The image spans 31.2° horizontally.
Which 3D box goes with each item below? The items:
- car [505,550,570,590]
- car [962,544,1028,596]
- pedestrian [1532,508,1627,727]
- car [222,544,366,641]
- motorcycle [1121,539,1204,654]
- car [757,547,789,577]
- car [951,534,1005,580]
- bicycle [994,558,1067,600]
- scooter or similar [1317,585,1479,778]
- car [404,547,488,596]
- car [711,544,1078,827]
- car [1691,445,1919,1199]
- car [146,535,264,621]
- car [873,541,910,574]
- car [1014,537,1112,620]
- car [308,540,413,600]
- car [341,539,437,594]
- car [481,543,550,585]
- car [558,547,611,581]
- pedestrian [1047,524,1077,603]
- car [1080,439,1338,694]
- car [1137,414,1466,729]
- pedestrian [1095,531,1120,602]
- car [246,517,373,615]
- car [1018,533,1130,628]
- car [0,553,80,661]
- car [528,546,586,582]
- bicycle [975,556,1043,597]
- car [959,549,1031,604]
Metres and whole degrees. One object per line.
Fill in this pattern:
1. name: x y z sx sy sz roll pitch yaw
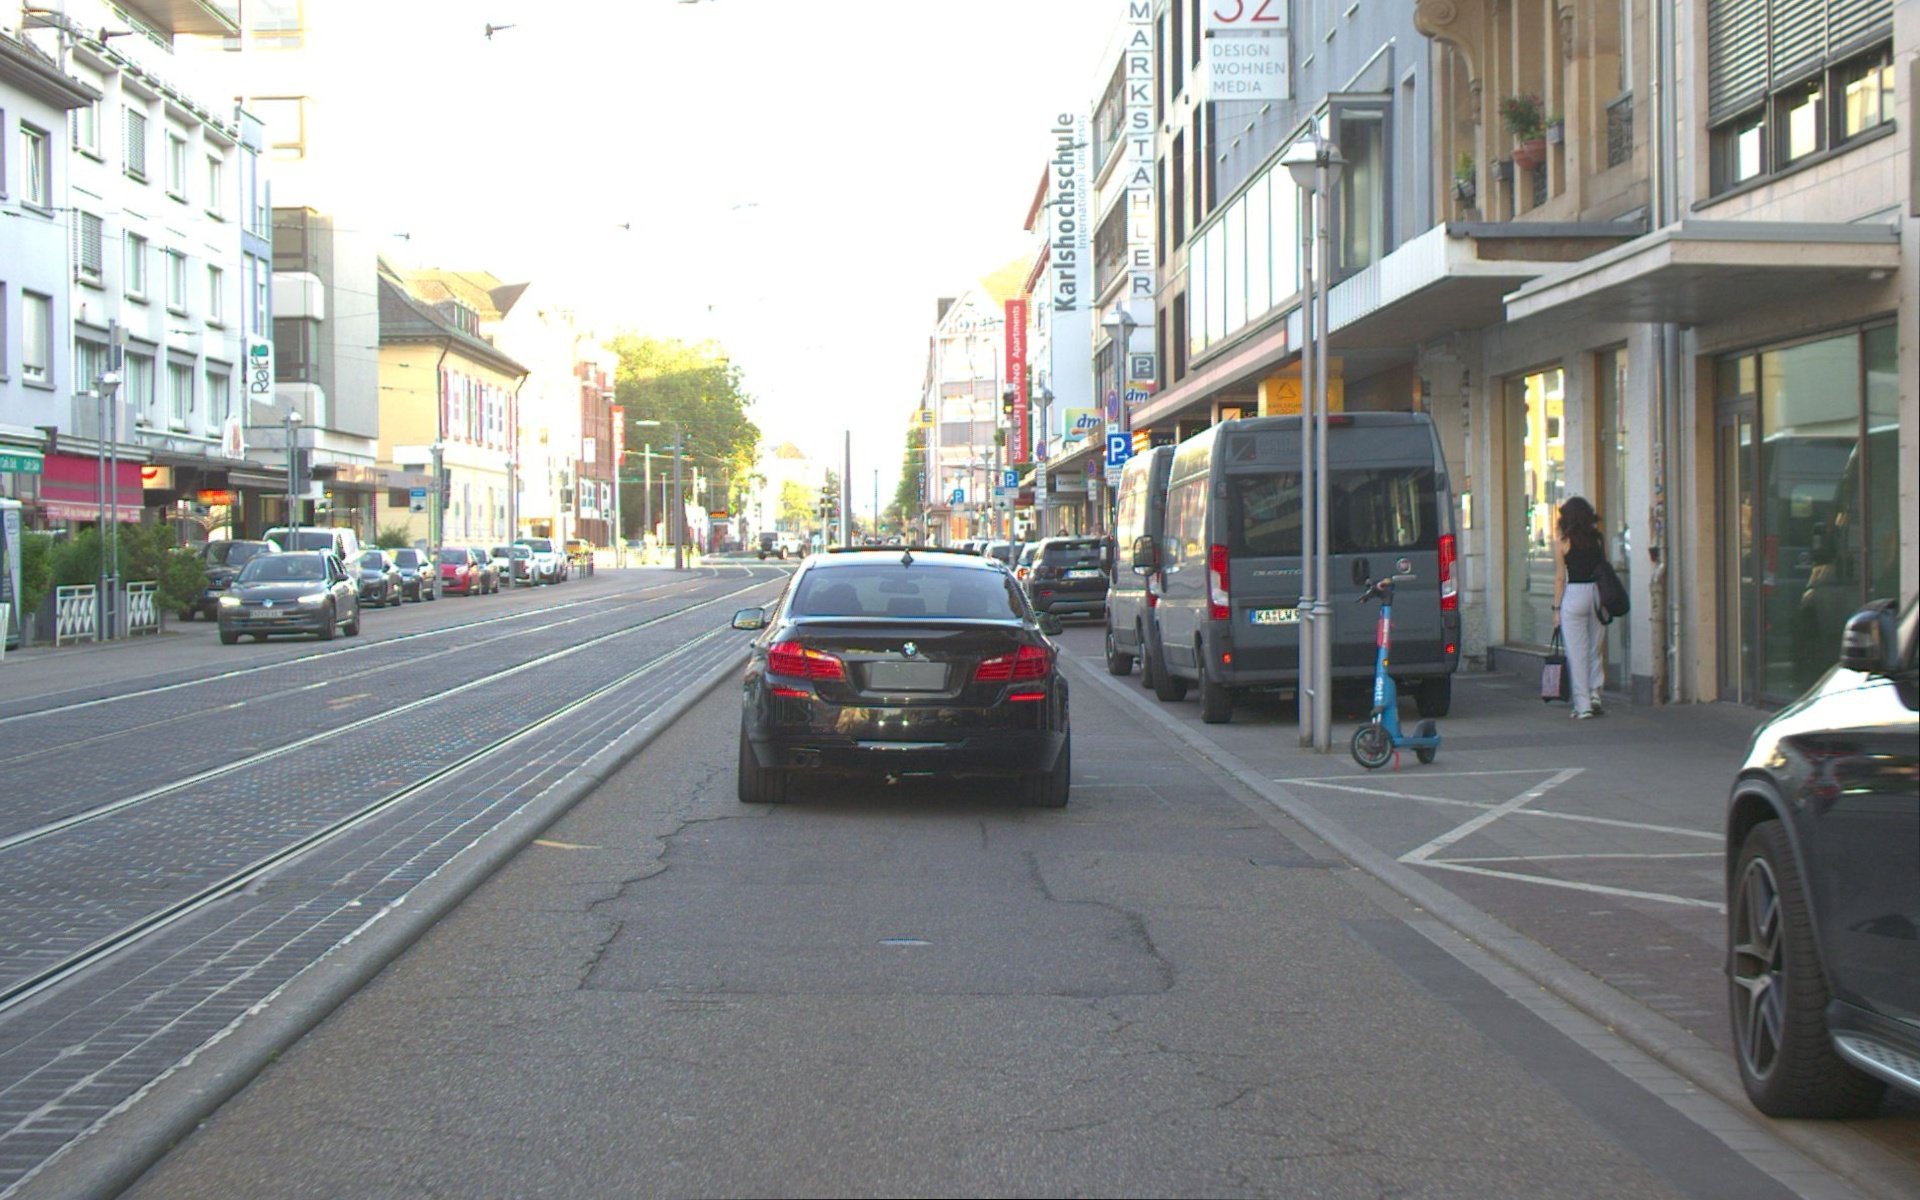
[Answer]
1. car: -15.618 -1.125 127.360 1.928 1.430 4.246 1 1 -1
2. car: 1.048 -0.896 104.245 1.903 1.543 3.780 0 0 -1
3. pedestrian: 4.750 0.127 26.375 0.550 1.638 0.533 -3 1 -1
4. car: -10.790 -0.156 55.976 1.691 1.448 4.466 -1 2 -3
5. motorcycle: 2.612 -0.058 44.525 0.844 1.414 2.165 -3 1 -1
6. car: -12.376 -2.502 227.661 1.993 1.832 4.000 0 -2 -1
7. car: 0.609 -1.477 118.657 1.774 1.543 3.503 0 0 -1
8. bicycle: 1.801 -0.530 88.141 1.861 1.076 0.468 0 0 0
9. scooter or similar: 2.892 0.518 22.633 0.499 1.216 1.262 0 1 36
10. car: -15.298 -0.864 102.561 1.928 1.430 4.246 1 1 -1
11. car: -0.344 0.430 20.804 1.953 1.493 4.465 1 1 0
12. car: 3.038 0.517 7.094 1.993 1.721 4.565 -1 1 -1
13. car: -15.326 -0.457 69.956 1.865 1.679 4.001 0 1 -5
14. car: -3.326 -2.047 166.481 1.774 1.543 3.503 0 0 -1
15. car: 1.889 -0.424 64.092 1.559 1.437 3.709 -3 1 -1
16. car: -15.001 -0.773 86.181 1.928 1.430 4.246 1 1 -1
17. car: -15.378 -0.913 92.750 1.928 1.430 4.246 1 1 -1
18. car: -15.659 -1.277 121.181 1.928 1.430 4.246 0 1 -1
19. car: -16.427 -1.580 150.514 1.928 1.430 4.246 1 1 -1
20. pedestrian: 2.169 -0.776 73.023 0.556 1.641 0.760 -1 1 -2
21. car: 2.561 -0.375 36.686 2.033 2.447 5.410 -2 1 -3
22. car: 2.865 -0.278 30.265 2.092 2.447 6.033 -2 1 -1
23. pedestrian: 3.702 -0.844 86.369 0.554 1.785 0.760 -1 1 -1
24. car: -14.849 -0.793 78.688 1.993 2.149 4.911 0 1 0
25. car: 1.930 -0.357 59.074 1.654 1.532 3.886 -2 1 -1
26. car: -13.994 0.073 48.563 1.993 1.448 4.330 0 1 0
27. car: -16.517 -1.505 141.113 1.928 1.430 4.246 1 1 -1
28. bicycle: 1.330 -0.631 93.850 1.861 1.115 0.468 0 0 0
29. car: 0.977 -0.667 97.481 1.903 1.543 4.000 0 0 -1
